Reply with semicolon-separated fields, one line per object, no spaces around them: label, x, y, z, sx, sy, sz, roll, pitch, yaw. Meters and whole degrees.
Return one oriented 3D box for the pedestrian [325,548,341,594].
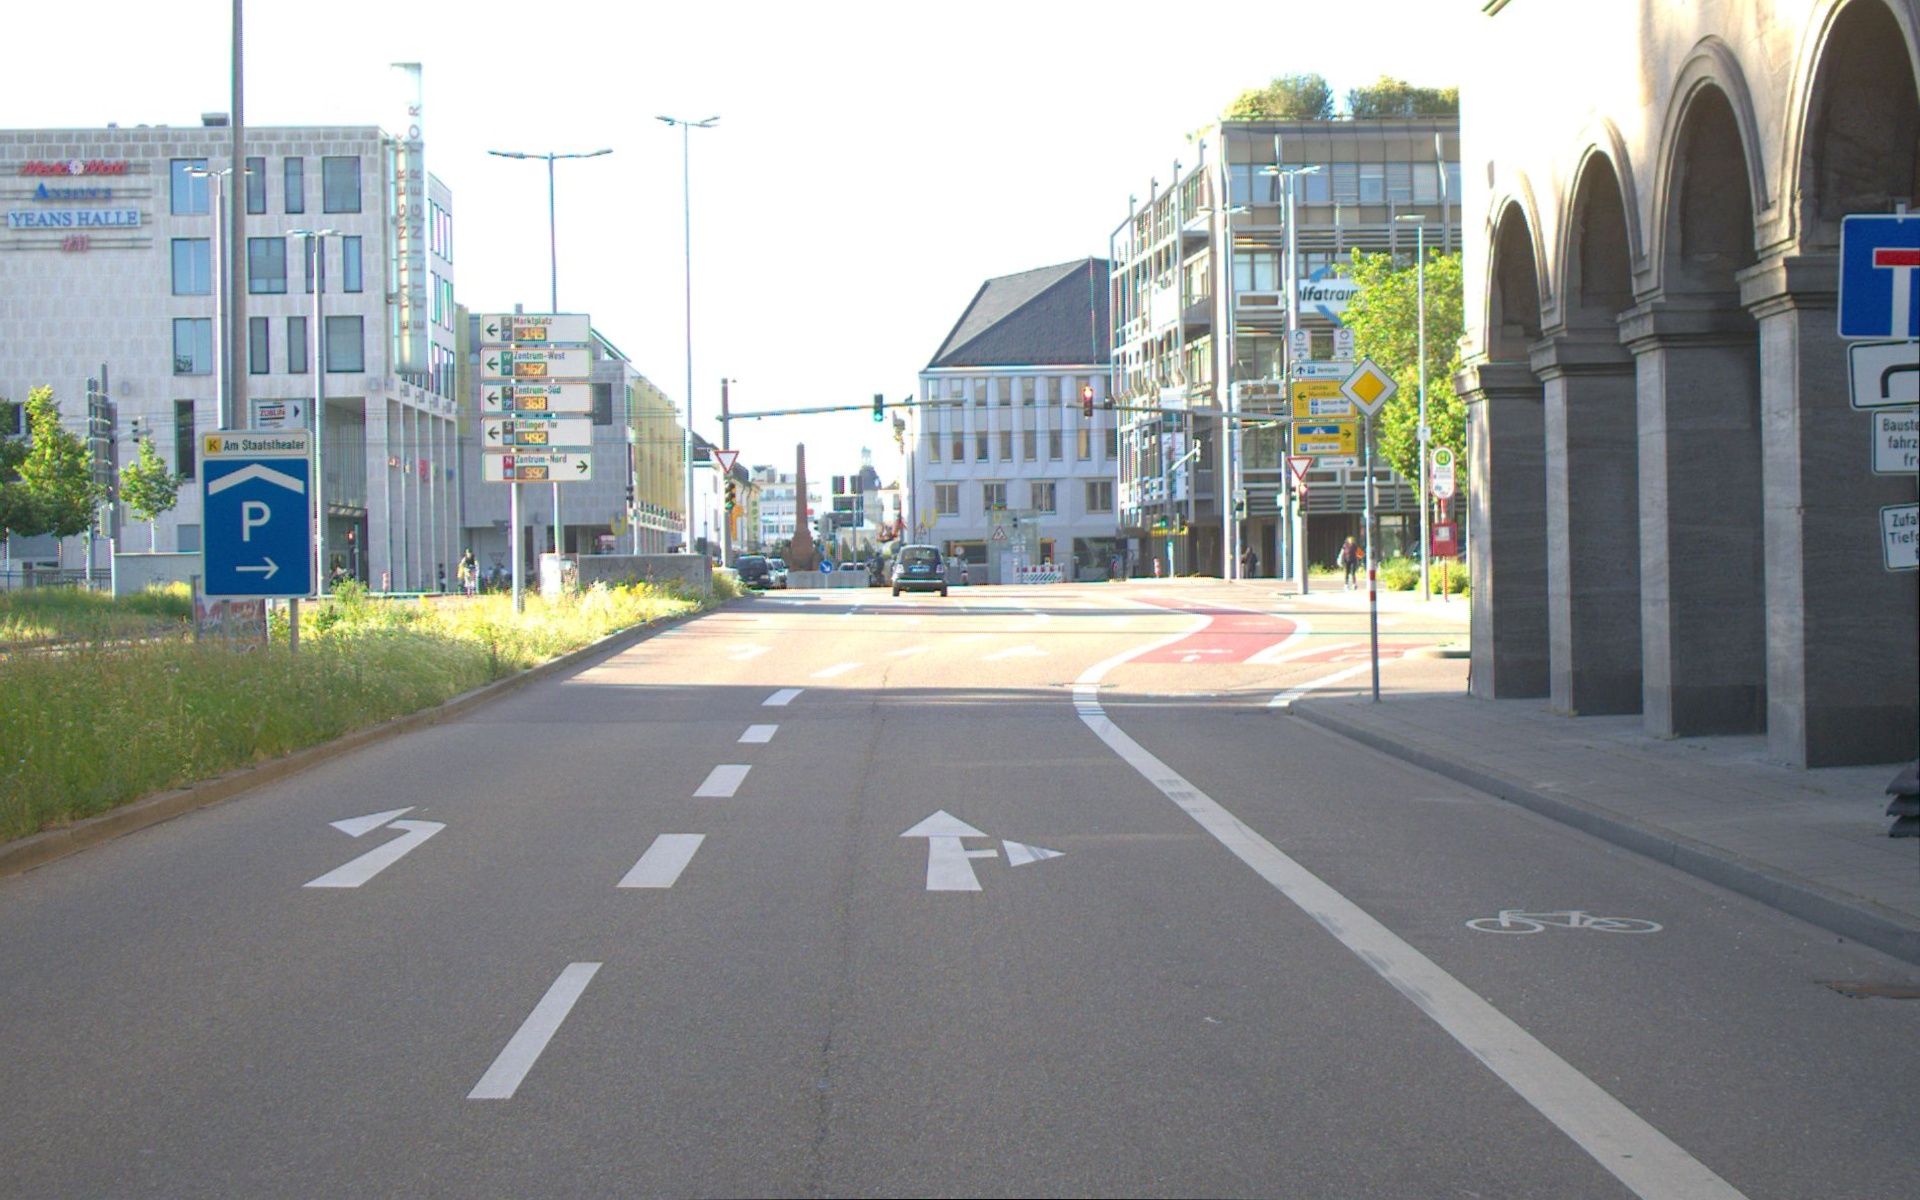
pedestrian;-27.431;-1.286;150.359;0.622;2.007;0.516;-1;1;-9

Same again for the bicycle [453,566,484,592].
bicycle;-16.769;-0.712;117.272;0.612;0.858;1.950;-1;1;5

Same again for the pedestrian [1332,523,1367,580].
pedestrian;12.251;-1.534;108.144;0.822;1.742;1.040;-2;0;21

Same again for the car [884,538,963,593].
car;-1.100;-1.031;101.105;1.775;1.558;3.790;-1;1;-9

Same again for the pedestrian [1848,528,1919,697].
pedestrian;8.919;0.107;32.429;0.776;1.564;0.953;-1;1;-3

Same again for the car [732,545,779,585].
car;-9.704;-1.688;163.118;1.993;1.736;4.647;-1;2;-1

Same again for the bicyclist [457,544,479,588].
bicyclist;-16.778;-1.150;117.262;0.607;1.484;0.681;-1;1;5

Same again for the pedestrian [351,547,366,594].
pedestrian;-26.351;-1.296;150.596;0.622;2.007;0.516;-1;1;-9

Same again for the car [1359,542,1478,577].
car;19.289;-1.697;144.755;4.630;1.351;2.000;-1;2;-4
